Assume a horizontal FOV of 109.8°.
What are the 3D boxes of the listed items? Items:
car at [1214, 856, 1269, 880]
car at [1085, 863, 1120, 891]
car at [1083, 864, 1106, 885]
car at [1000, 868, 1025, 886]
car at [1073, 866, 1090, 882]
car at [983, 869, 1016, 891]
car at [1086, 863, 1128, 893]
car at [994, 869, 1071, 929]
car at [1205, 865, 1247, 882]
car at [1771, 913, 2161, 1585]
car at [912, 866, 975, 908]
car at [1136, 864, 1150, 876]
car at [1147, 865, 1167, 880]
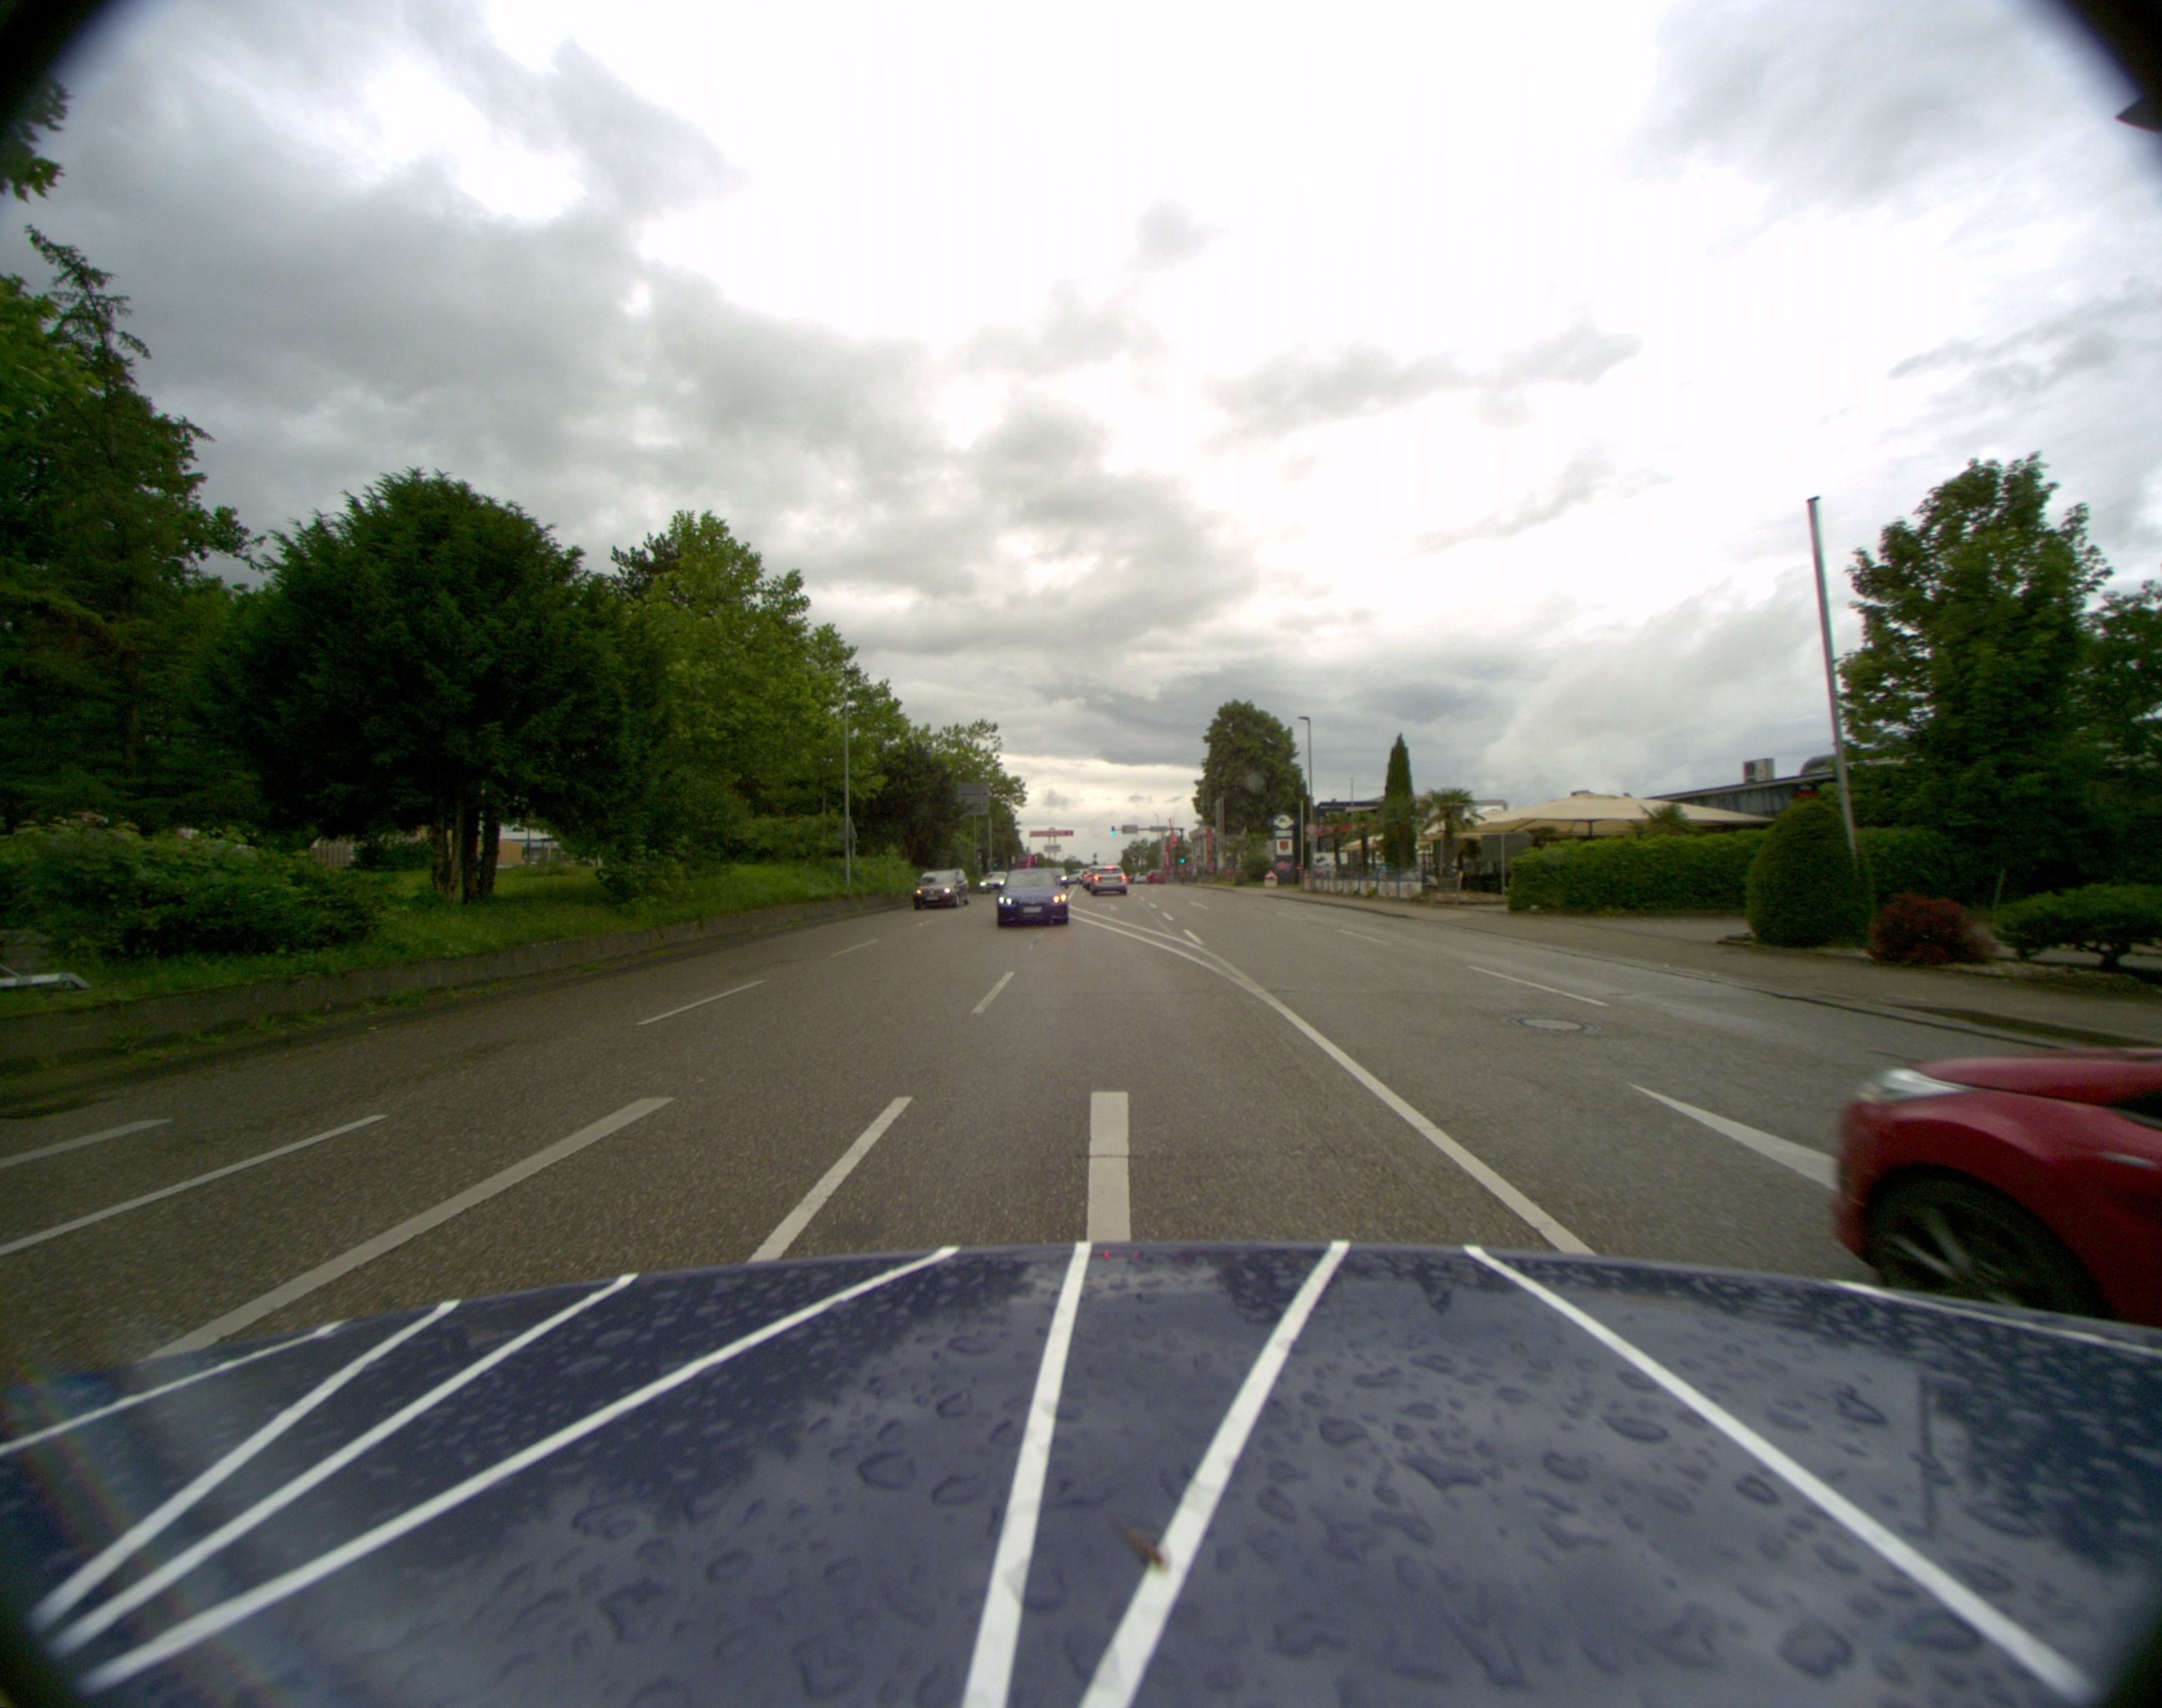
[{"bbox_3d":[14.014,1.259,66.363,4.407,2.001,1.996,2,-2,-26],"label":"car"},{"bbox_3d":[1.250,1.369,46.588,1.792,1.571,4.238,-1,0,-3],"label":"car"},{"bbox_3d":[1.042,1.515,57.041,1.605,1.432,3.949,-2,-1,1],"label":"car"},{"bbox_3d":[-5.672,1.901,63.176,1.634,1.447,3.539,-2,-2,0],"label":"car"},{"bbox_3d":[0.100,2.211,83.841,1.844,1.639,4.299,-1,-2,1],"label":"car"},{"bbox_3d":[-5.670,1.824,53.295,1.784,1.447,4.681,-2,-2,0],"label":"car"},{"bbox_3d":[1.342,1.227,40.452,1.755,1.499,4.300,-1,0,-4],"label":"car"},{"bbox_3d":[-1.237,1.194,21.267,1.784,1.447,4.598,-2,-2,0],"label":"car"},{"bbox_3d":[13.871,1.857,72.944,3.608,1.495,1.669,0,0,30],"label":"car"},{"bbox_3d":[3.207,0.925,0.720,1.685,1.411,3.841,1,0,2],"label":"car"},{"bbox_3d":[-5.677,1.367,31.860,1.751,1.599,3.982,-2,-2,2],"label":"car"},{"bbox_3d":[7.897,2.005,96.530,1.640,1.468,4.047,-1,-1,7],"label":"car"},{"bbox_3d":[7.829,1.919,78.504,1.641,1.524,3.972,1,-1,1],"label":"car"}]
